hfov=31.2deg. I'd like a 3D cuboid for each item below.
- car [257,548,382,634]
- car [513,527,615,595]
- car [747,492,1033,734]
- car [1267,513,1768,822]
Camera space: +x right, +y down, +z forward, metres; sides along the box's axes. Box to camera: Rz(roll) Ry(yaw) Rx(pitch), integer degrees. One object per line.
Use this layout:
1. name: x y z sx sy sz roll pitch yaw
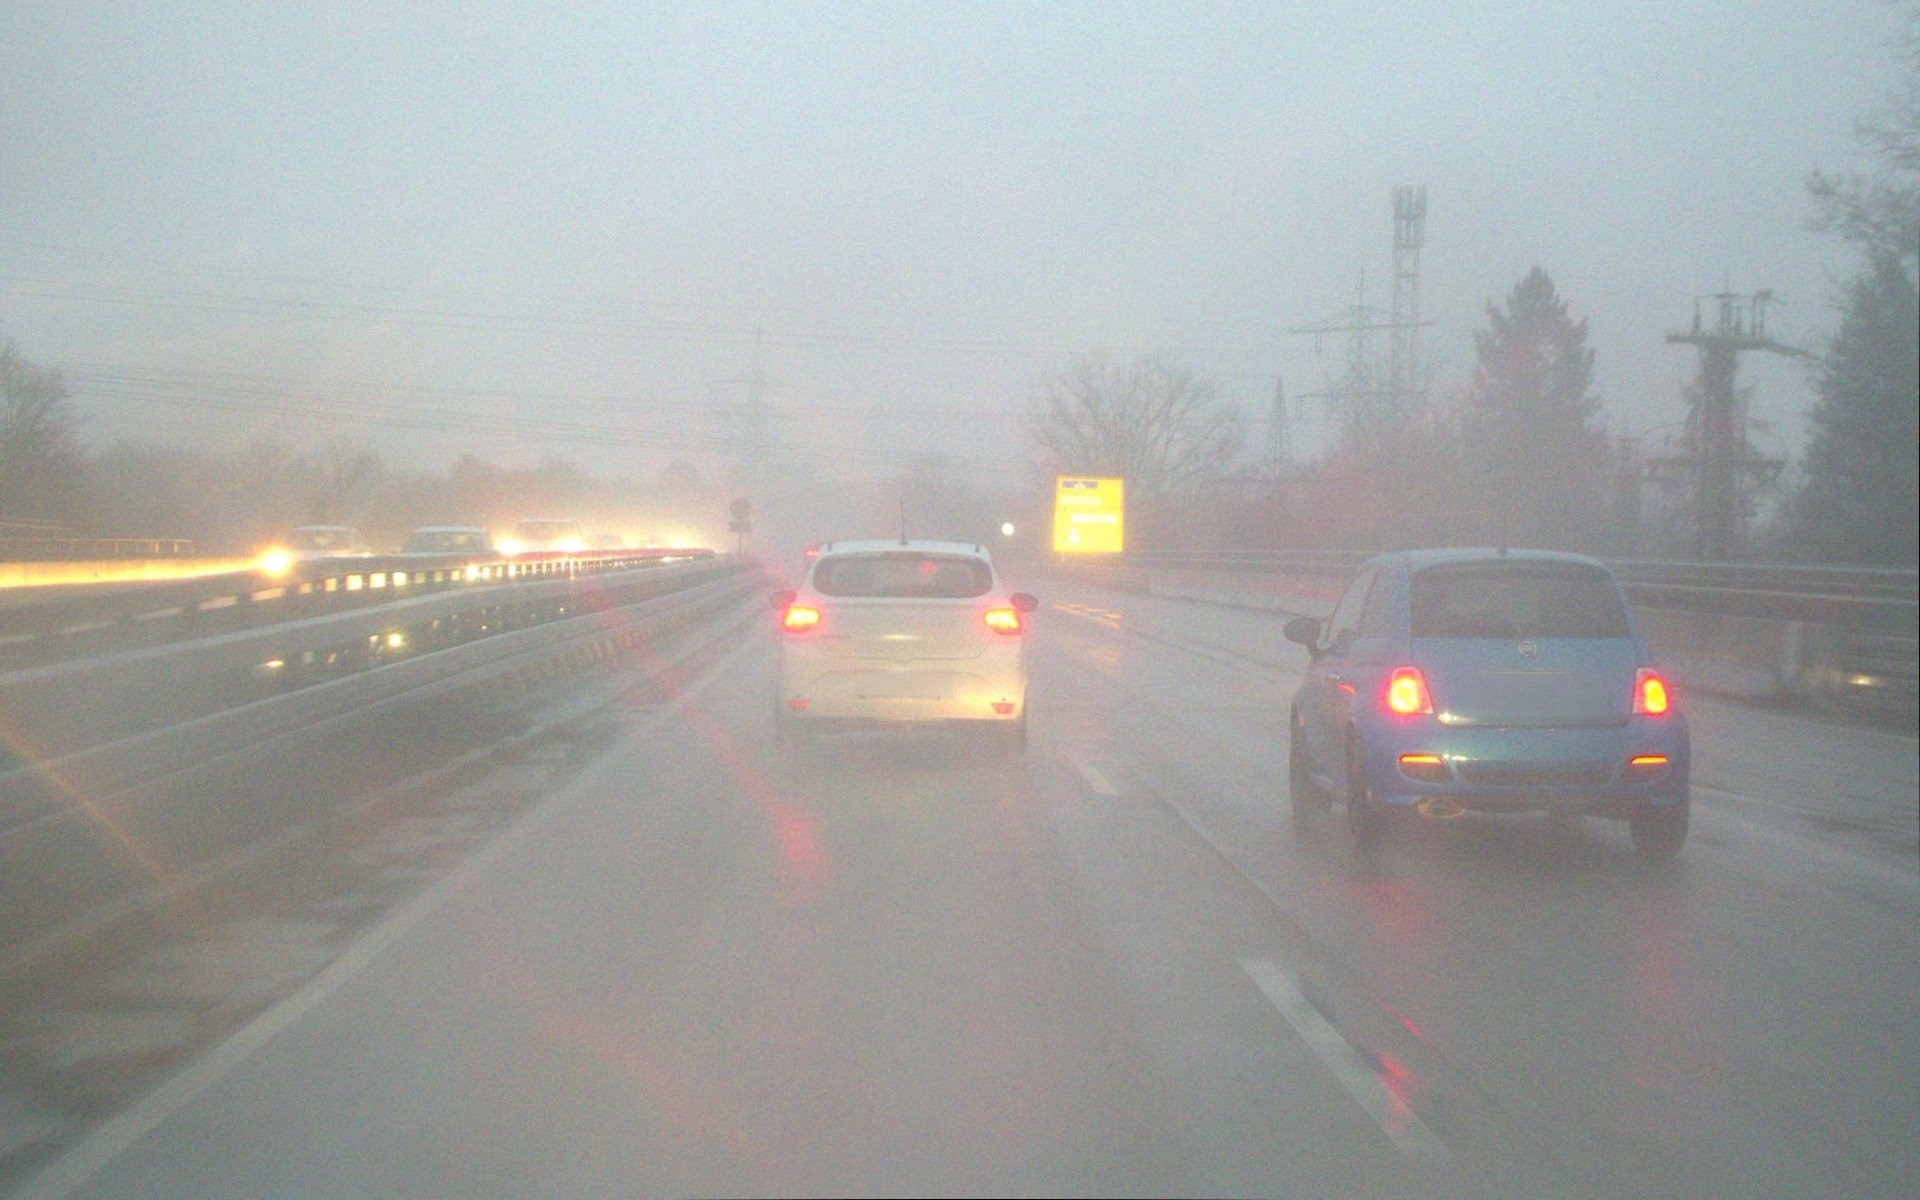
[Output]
1. car: -12.611 -0.209 67.915 1.855 1.560 3.923 0 2 -2
2. car: -9.422 -0.951 82.053 1.964 1.497 4.374 1 1 -1
3. car: -0.590 0.043 25.269 1.845 1.630 3.768 1 1 -5
4. car: 2.878 0.278 18.674 1.845 1.448 4.149 0 2 -3
